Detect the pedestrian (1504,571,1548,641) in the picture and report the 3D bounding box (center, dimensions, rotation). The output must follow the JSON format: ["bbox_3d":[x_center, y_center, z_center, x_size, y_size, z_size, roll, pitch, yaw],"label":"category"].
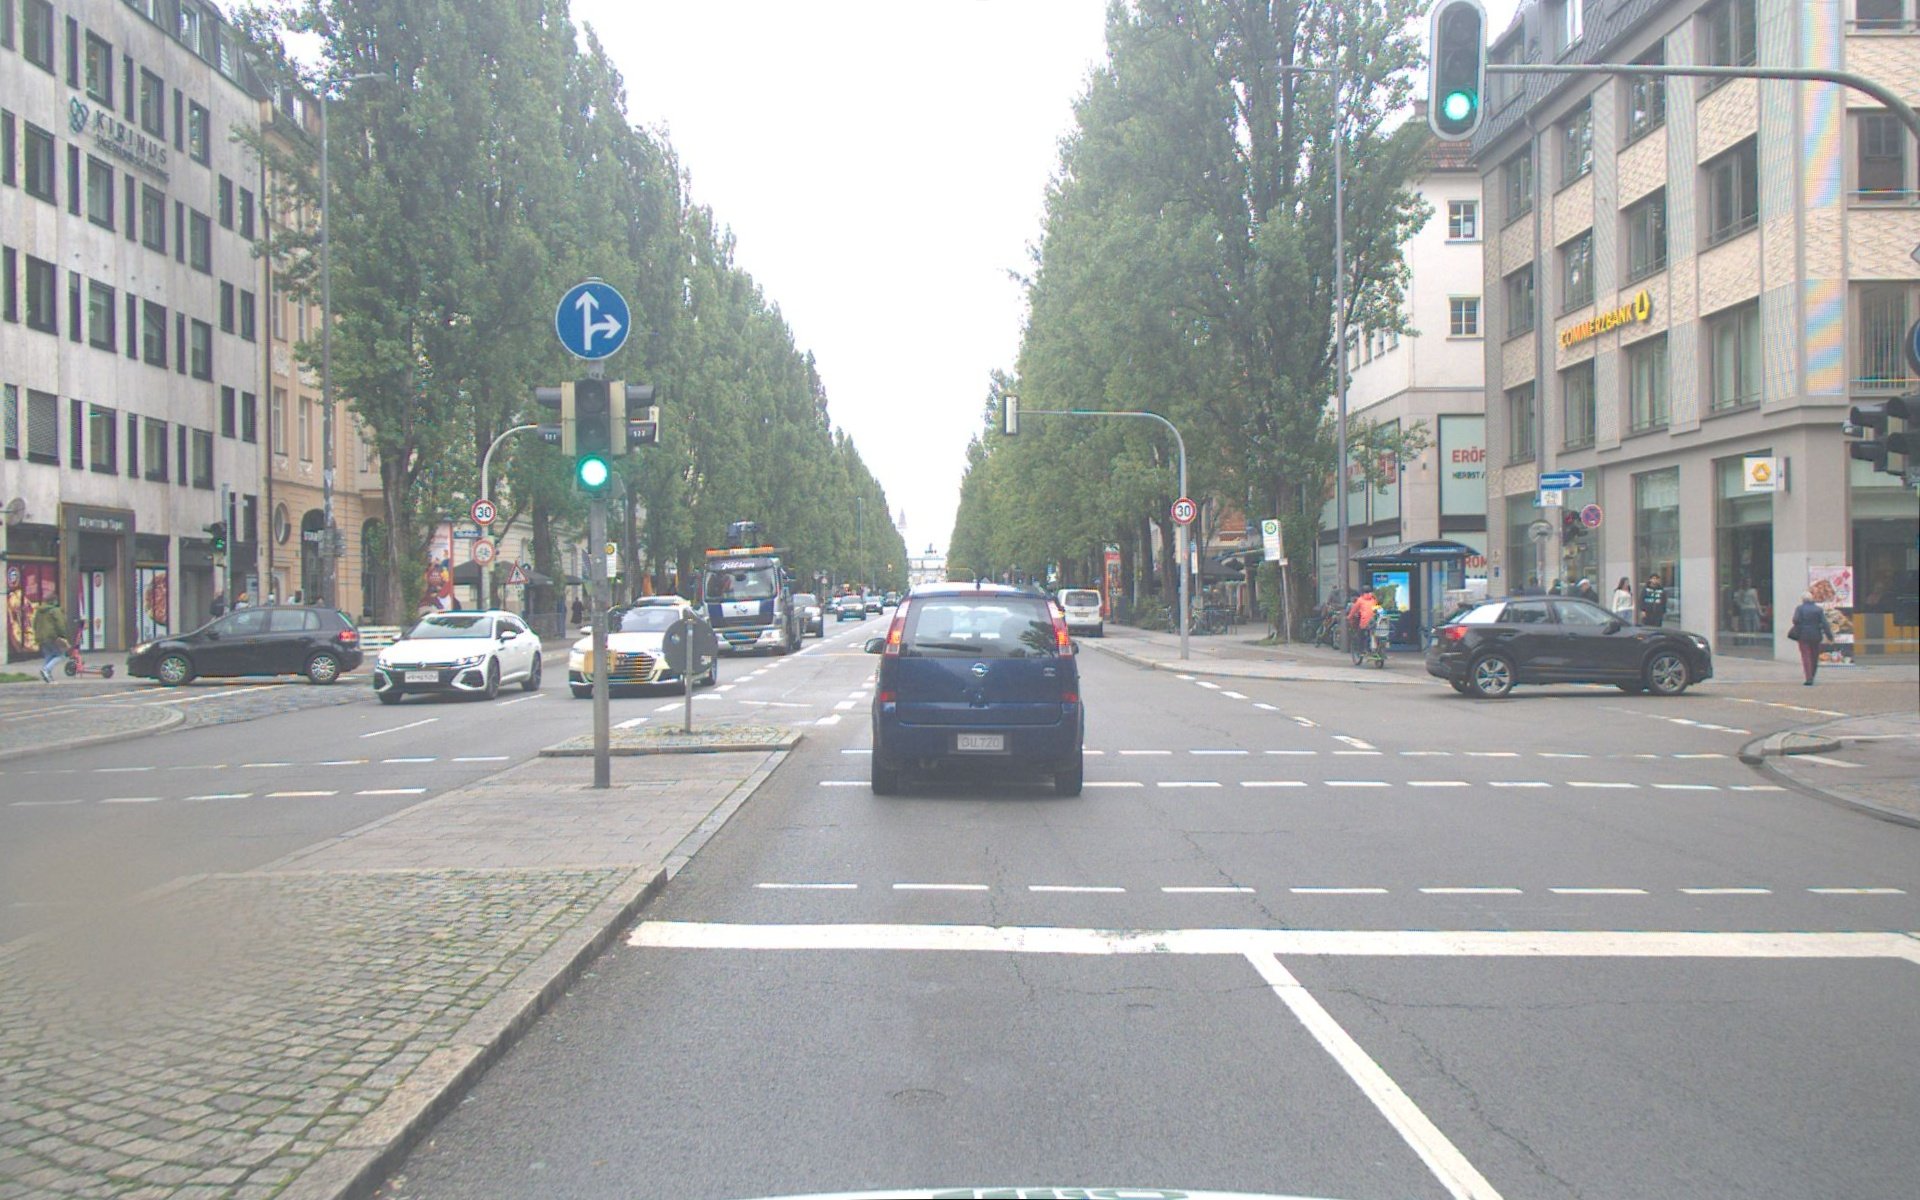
[{"bbox_3d":[14.045,0.143,41.047,0.734,1.706,0.963,-1,0,0],"label":"pedestrian"}]

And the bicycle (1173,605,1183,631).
[{"bbox_3d":[8.934,0.723,67.899,0.357,1.056,1.732,-1,0,7],"label":"bicycle"}]

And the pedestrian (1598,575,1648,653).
[{"bbox_3d":[15.401,0.322,38.431,0.734,1.788,1.017,-1,0,0],"label":"pedestrian"}]

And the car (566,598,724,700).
[{"bbox_3d":[-5.276,0.769,28.351,1.806,1.528,4.985,-2,0,-1],"label":"car"}]

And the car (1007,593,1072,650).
[{"bbox_3d":[2.308,0.595,48.841,1.671,1.601,3.999,-1,0,-1],"label":"car"}]

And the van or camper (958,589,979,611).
[{"bbox_3d":[1.019,0.007,206.195,2.426,2.626,5.843,-1,0,-1],"label":"van or camper"}]

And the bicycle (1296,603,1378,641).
[{"bbox_3d":[10.670,0.610,46.875,2.104,1.035,0.874,-1,0,-2],"label":"bicycle"}]

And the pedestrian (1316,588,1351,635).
[{"bbox_3d":[13.648,0.423,60.400,0.978,1.703,0.814,-1,0,-39],"label":"pedestrian"}]

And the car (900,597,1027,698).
[{"bbox_3d":[-0.010,0.732,27.728,1.953,1.523,3.999,-1,0,-2],"label":"car"}]

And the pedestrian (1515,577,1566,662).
[{"bbox_3d":[12.947,0.430,36.913,0.801,1.849,0.890,0,0,-3],"label":"pedestrian"}]

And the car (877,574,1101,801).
[{"bbox_3d":[0.150,0.633,14.148,1.647,1.670,3.998,0,0,-2],"label":"car"}]

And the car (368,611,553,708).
[{"bbox_3d":[-8.348,0.936,28.057,1.786,1.432,4.631,-2,0,-1],"label":"car"}]

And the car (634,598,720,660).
[{"bbox_3d":[-8.540,0.840,50.225,1.800,1.746,4.635,-2,0,-1],"label":"car"}]

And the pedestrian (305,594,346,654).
[{"bbox_3d":[-17.713,0.657,46.175,0.762,1.647,0.934,-1,0,-2],"label":"pedestrian"}]

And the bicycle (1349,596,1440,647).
[{"bbox_3d":[11.094,0.548,42.223,2.194,1.274,0.477,-1,0,23],"label":"bicycle"}]

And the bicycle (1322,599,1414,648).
[{"bbox_3d":[10.890,0.618,44.222,2.296,1.274,0.633,-1,0,-2],"label":"bicycle"}]

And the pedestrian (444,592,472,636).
[{"bbox_3d":[-20.333,0.572,67.012,0.826,1.774,0.954,1,-1,0],"label":"pedestrian"}]

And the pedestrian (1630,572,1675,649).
[{"bbox_3d":[16.197,0.237,38.695,0.734,1.788,0.711,0,0,0],"label":"pedestrian"}]

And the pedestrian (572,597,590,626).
[{"bbox_3d":[-20.298,0.618,88.584,0.753,1.564,0.804,-1,0,-2],"label":"pedestrian"}]

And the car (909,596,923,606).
[{"bbox_3d":[-6.102,0.121,228.719,1.922,1.424,3.777,-1,0,-2],"label":"car"}]

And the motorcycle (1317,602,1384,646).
[{"bbox_3d":[10.620,0.649,45.042,1.689,1.159,0.510,-1,0,0],"label":"motorcycle"}]

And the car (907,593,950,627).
[{"bbox_3d":[-1.483,0.467,77.527,1.953,1.524,3.998,-1,0,-2],"label":"car"}]

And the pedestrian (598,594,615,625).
[{"bbox_3d":[-19.422,0.532,90.806,0.719,1.702,0.952,-1,0,-1],"label":"pedestrian"}]

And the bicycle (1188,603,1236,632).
[{"bbox_3d":[9.486,0.639,62.332,1.726,1.062,0.482,-1,0,-11],"label":"bicycle"}]

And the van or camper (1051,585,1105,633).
[{"bbox_3d":[4.930,0.360,69.740,1.830,1.916,4.902,0,0,-1],"label":"van or camper"}]

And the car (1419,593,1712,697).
[{"bbox_3d":[9.195,0.676,25.378,3.902,1.487,1.760,-1,0,6],"label":"car"}]

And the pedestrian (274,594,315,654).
[{"bbox_3d":[-18.161,0.646,45.142,0.735,1.594,0.989,-1,0,-2],"label":"pedestrian"}]

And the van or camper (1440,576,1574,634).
[{"bbox_3d":[18.808,0.170,57.036,4.018,1.899,1.899,1,0,3],"label":"van or camper"}]

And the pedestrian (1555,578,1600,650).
[{"bbox_3d":[15.085,0.337,40.419,0.734,1.748,0.963,-1,0,0],"label":"pedestrian"}]

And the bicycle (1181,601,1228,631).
[{"bbox_3d":[9.326,0.612,63.009,1.707,1.130,0.447,-1,0,-11],"label":"bicycle"}]

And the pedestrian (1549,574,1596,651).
[{"bbox_3d":[14.393,0.297,38.895,0.734,1.789,0.859,-1,-2,0],"label":"pedestrian"}]

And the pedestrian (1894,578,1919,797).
[{"bbox_3d":[7.543,0.647,12.211,0.750,1.638,0.863,-1,0,-5],"label":"pedestrian"}]

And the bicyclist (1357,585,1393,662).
[{"bbox_3d":[8.842,0.489,35.218,0.609,1.616,0.481,-1,0,-2],"label":"bicyclist"}]

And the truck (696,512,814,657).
[{"bbox_3d":[-5.701,-0.426,47.165,2.413,3.734,8.438,-1,0,-1],"label":"truck"}]

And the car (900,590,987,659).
[{"bbox_3d":[-0.435,0.547,39.626,1.953,1.523,3.999,-1,0,-2],"label":"car"}]

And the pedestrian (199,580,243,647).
[{"bbox_3d":[-20.413,0.365,45.698,0.783,1.819,0.911,1,0,-1],"label":"pedestrian"}]

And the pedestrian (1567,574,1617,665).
[{"bbox_3d":[12.638,0.378,33.100,0.694,1.788,0.752,-1,0,0],"label":"pedestrian"}]

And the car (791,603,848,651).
[{"bbox_3d":[-5.436,1.025,64.542,1.846,1.777,4.438,-1,0,0],"label":"car"}]

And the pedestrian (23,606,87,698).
[{"bbox_3d":[-17.678,1.010,32.332,0.712,1.771,0.942,1,-1,-2],"label":"pedestrian"}]

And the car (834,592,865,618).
[{"bbox_3d":[-7.483,0.321,112.315,1.874,1.710,4.585,-1,0,-1],"label":"car"}]

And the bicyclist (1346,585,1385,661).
[{"bbox_3d":[8.817,0.492,35.983,0.609,1.616,0.753,-1,0,-2],"label":"bicyclist"}]

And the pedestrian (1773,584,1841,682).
[{"bbox_3d":[14.713,0.579,28.744,0.734,1.665,0.734,-2,-2,1],"label":"pedestrian"}]

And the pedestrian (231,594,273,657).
[{"bbox_3d":[-19.574,0.695,45.732,0.717,1.711,0.977,1,0,-1],"label":"pedestrian"}]

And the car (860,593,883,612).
[{"bbox_3d":[-7.952,0.239,148.887,1.896,1.652,4.335,-1,0,-1],"label":"car"}]

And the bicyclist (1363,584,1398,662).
[{"bbox_3d":[8.859,0.487,34.822,0.609,1.616,0.391,-1,0,-2],"label":"bicyclist"}]

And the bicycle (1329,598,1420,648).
[{"bbox_3d":[10.932,0.606,43.610,2.268,1.274,0.477,-1,0,-2],"label":"bicycle"}]

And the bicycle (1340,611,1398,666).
[{"bbox_3d":[8.832,0.816,35.760,0.614,1.106,2.263,-1,0,-2],"label":"bicycle"}]

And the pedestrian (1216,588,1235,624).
[{"bbox_3d":[14.038,0.324,87.430,0.809,1.873,1.099,-1,0,2],"label":"pedestrian"}]

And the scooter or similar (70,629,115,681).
[{"bbox_3d":[-18.557,1.177,35.380,0.798,1.112,0.274,1,-1,-5],"label":"scooter or similar"}]

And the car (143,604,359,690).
[{"bbox_3d":[-13.388,0.861,31.444,3.637,1.501,1.762,-1,0,-20],"label":"car"}]
